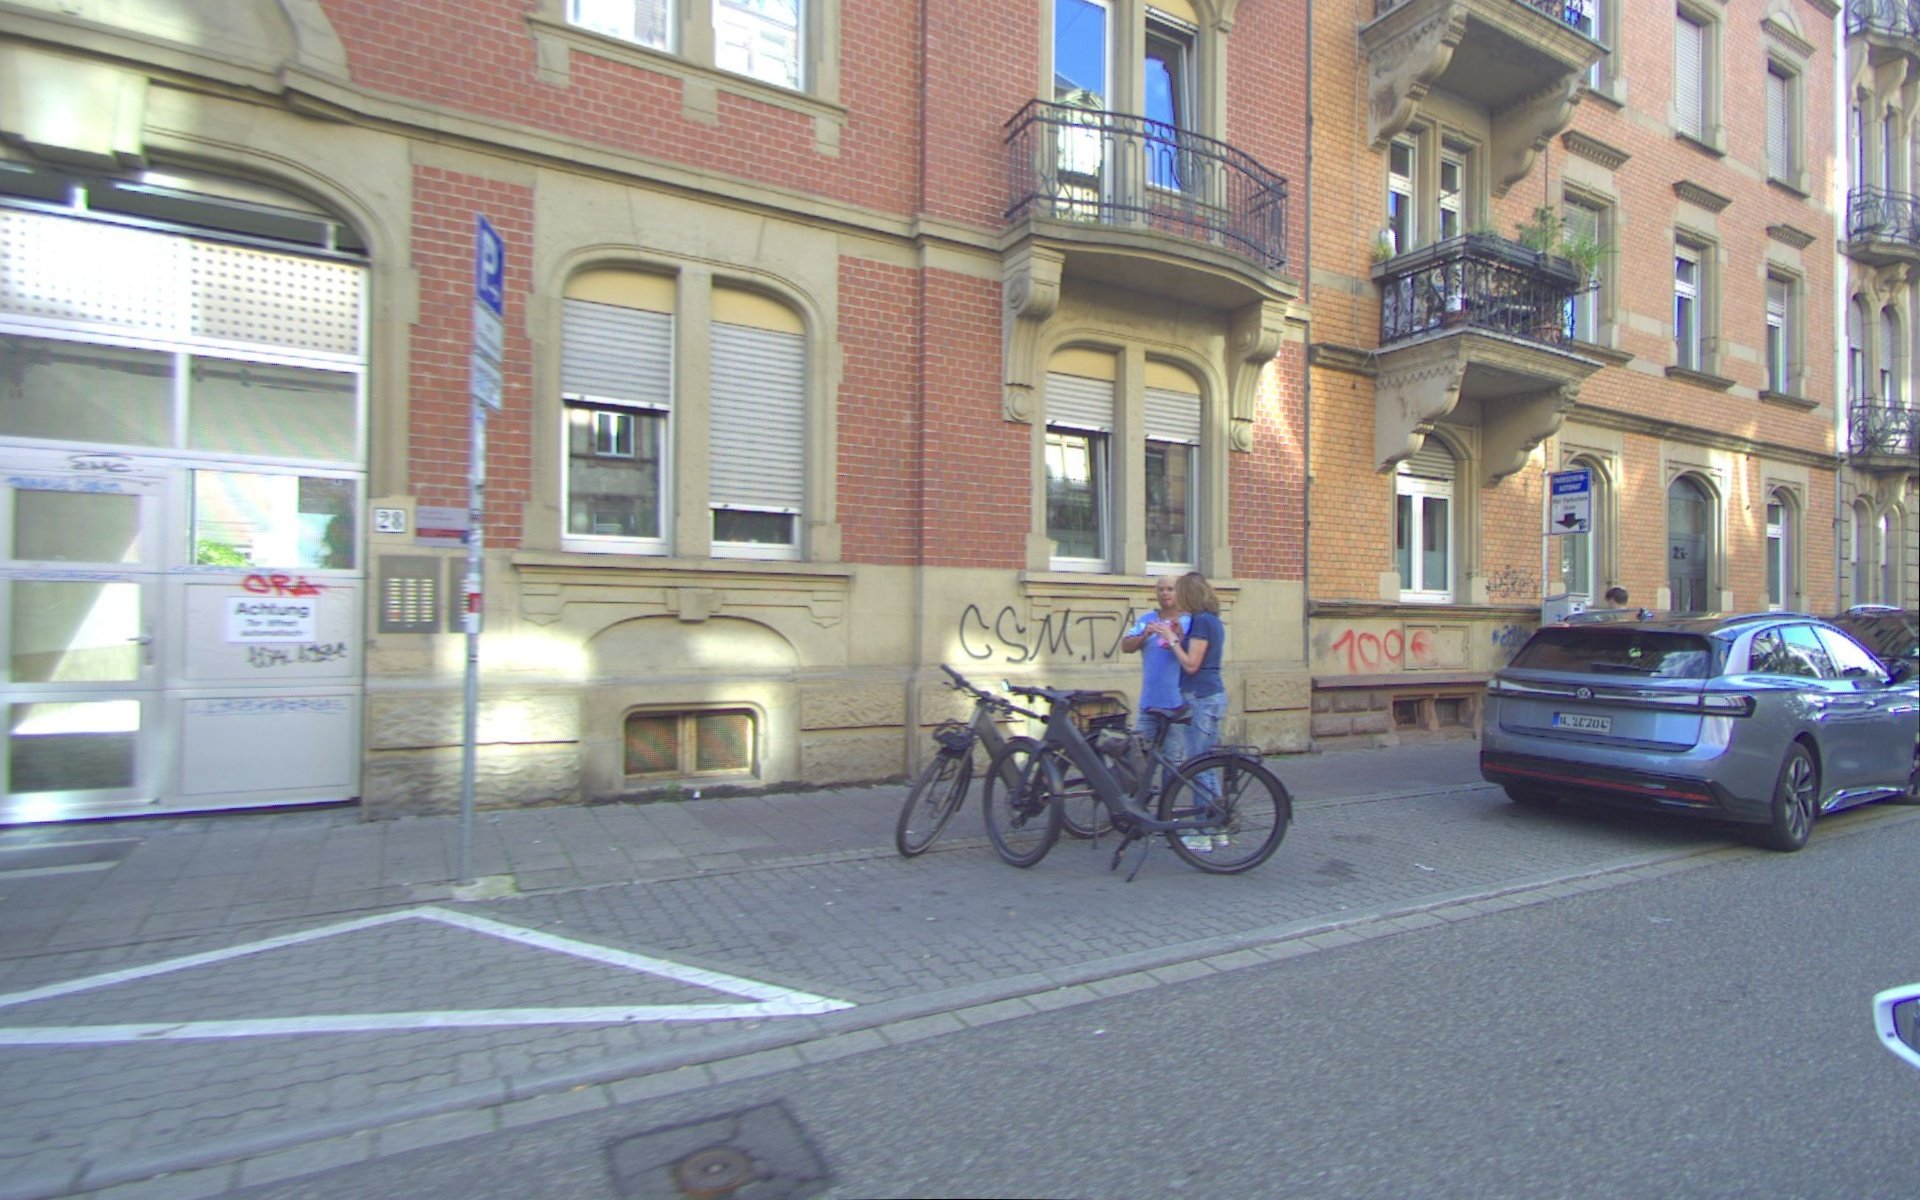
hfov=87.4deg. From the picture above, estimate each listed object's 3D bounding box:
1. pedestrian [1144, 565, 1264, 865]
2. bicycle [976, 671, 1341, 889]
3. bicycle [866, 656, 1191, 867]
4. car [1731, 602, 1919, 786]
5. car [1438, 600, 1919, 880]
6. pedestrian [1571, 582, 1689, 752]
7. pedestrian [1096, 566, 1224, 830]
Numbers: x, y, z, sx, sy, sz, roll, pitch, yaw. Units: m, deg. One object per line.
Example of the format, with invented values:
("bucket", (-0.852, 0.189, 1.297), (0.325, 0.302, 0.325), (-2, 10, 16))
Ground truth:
("pedestrian", (1.525, 0.663, 6.230), (0.555, 1.732, 0.667), (1, 0, 26))
("bicycle", (1.057, 0.970, 5.504), (1.868, 1.073, 0.483), (2, 1, -5))
("bicycle", (0.427, 0.920, 6.012), (1.876, 1.110, 0.492), (2, 1, -21))
("car", (10.730, 0.909, 11.221), (4.841, 1.703, 1.862), (1, 0, -33))
("car", (6.173, 0.867, 8.006), (5.207, 1.599, 1.814), (1, 0, -33))
("pedestrian", (7.560, 0.732, 11.352), (0.851, 1.832, 0.754), (1, 0, -26))
("pedestrian", (1.359, 0.625, 6.813), (0.669, 1.683, 0.550), (1, 0, 31))
